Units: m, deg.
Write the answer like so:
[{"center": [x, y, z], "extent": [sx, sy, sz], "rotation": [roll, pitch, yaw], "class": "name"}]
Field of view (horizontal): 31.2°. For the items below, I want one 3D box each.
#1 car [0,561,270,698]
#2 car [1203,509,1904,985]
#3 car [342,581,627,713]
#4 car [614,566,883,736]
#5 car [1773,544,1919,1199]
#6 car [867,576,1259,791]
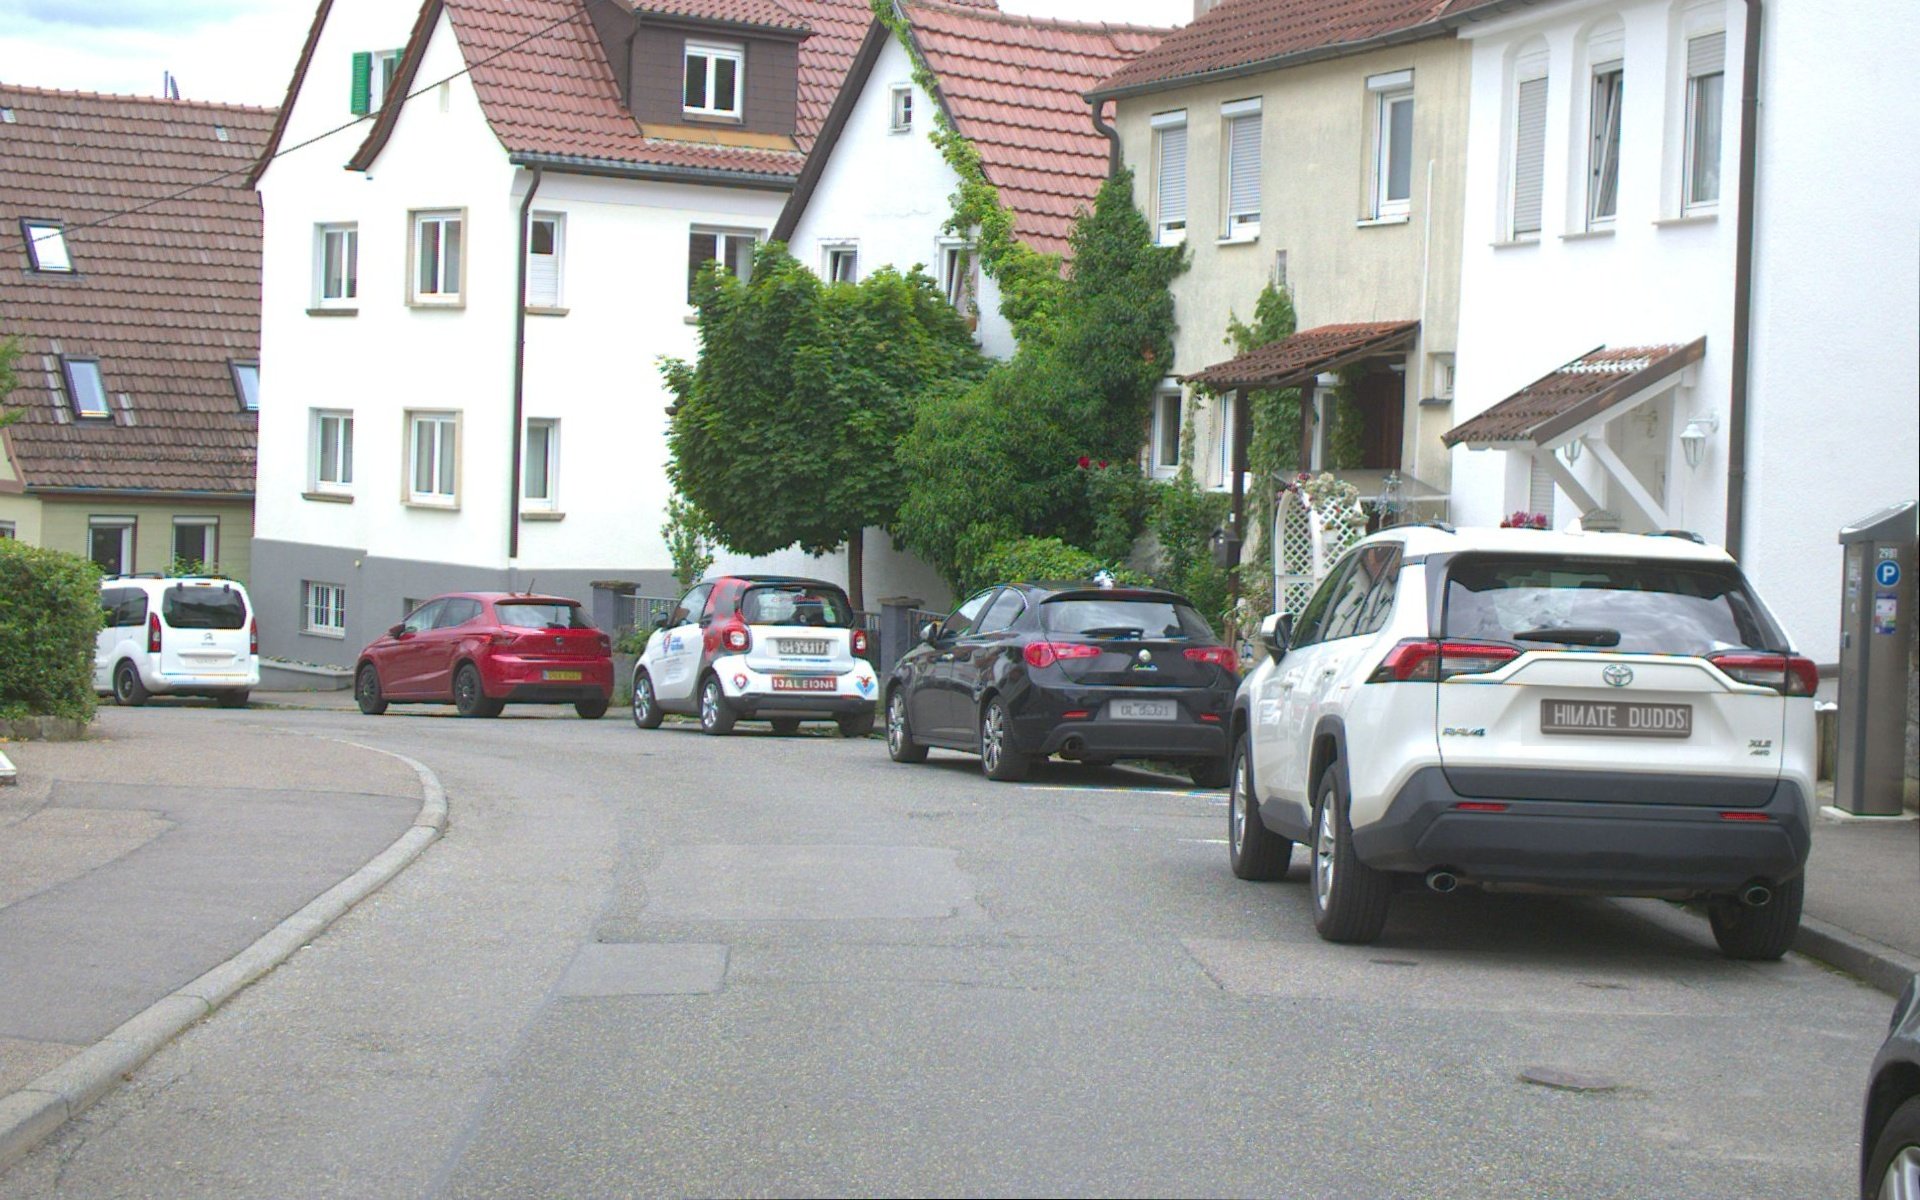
[{"center": [-11.578, 0.430, 47.956], "extent": [1.836, 1.808, 4.301], "rotation": [2, -2, -43], "class": "car"}, {"center": [2.329, 0.484, 14.787], "extent": [1.946, 1.634, 4.461], "rotation": [3, 1, -3], "class": "car"}, {"center": [-5.557, 0.555, 39.860], "extent": [1.679, 1.447, 3.851], "rotation": [2, -2, -35], "class": "car"}, {"center": [-2.120, 0.499, 33.866], "extent": [1.611, 1.527, 2.897], "rotation": [4, -2, -25], "class": "car"}, {"center": [2.521, 0.766, 4.518], "extent": [1.735, 1.558, 3.909], "rotation": [4, 1, -3], "class": "car"}, {"center": [0.671, 0.569, 25.577], "extent": [1.717, 1.402, 4.004], "rotation": [2, 0, -16], "class": "car"}]
